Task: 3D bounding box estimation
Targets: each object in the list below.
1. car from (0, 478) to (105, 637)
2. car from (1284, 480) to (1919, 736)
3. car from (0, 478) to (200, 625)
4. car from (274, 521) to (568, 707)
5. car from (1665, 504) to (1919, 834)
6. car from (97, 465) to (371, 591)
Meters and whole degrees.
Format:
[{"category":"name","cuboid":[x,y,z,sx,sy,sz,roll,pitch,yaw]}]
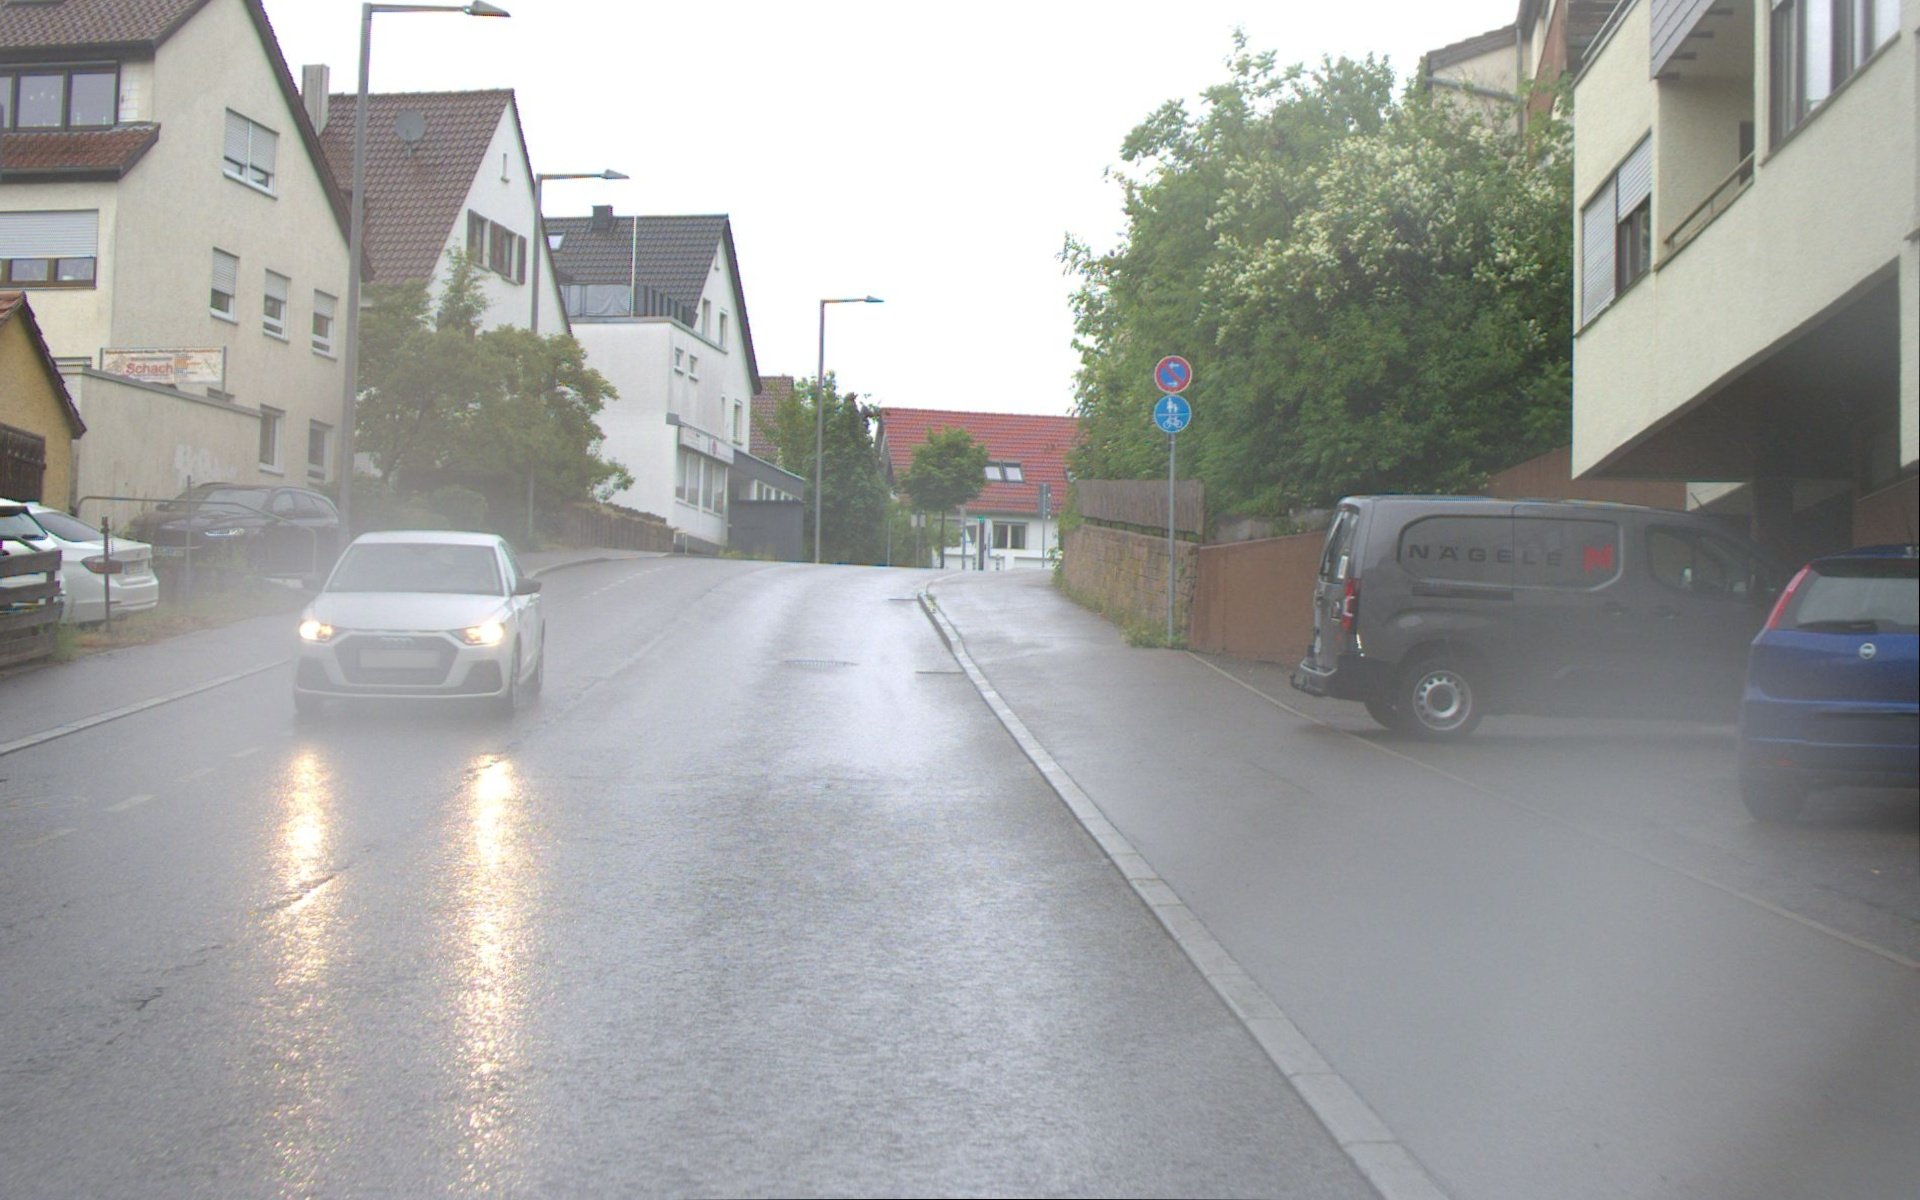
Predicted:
[{"category":"car","cuboid":[-10.687,-0.464,33.781,3.989,1.500,1.900,1,2,10]},{"category":"car","cuboid":[4.947,0.032,26.108,4.707,1.814,2.000,1,2,-2]},{"category":"car","cuboid":[-10.673,-0.561,36.921,4.498,1.500,1.900,1,2,10]},{"category":"car","cuboid":[-4.307,0.071,28.041,1.702,1.383,4.051,-1,1,1]},{"category":"car","cuboid":[5.606,0.360,18.872,1.786,1.573,4.058,4,2,36]},{"category":"car","cuboid":[-10.163,-1.030,48.538,1.975,1.653,4.960,1,2,11]}]
